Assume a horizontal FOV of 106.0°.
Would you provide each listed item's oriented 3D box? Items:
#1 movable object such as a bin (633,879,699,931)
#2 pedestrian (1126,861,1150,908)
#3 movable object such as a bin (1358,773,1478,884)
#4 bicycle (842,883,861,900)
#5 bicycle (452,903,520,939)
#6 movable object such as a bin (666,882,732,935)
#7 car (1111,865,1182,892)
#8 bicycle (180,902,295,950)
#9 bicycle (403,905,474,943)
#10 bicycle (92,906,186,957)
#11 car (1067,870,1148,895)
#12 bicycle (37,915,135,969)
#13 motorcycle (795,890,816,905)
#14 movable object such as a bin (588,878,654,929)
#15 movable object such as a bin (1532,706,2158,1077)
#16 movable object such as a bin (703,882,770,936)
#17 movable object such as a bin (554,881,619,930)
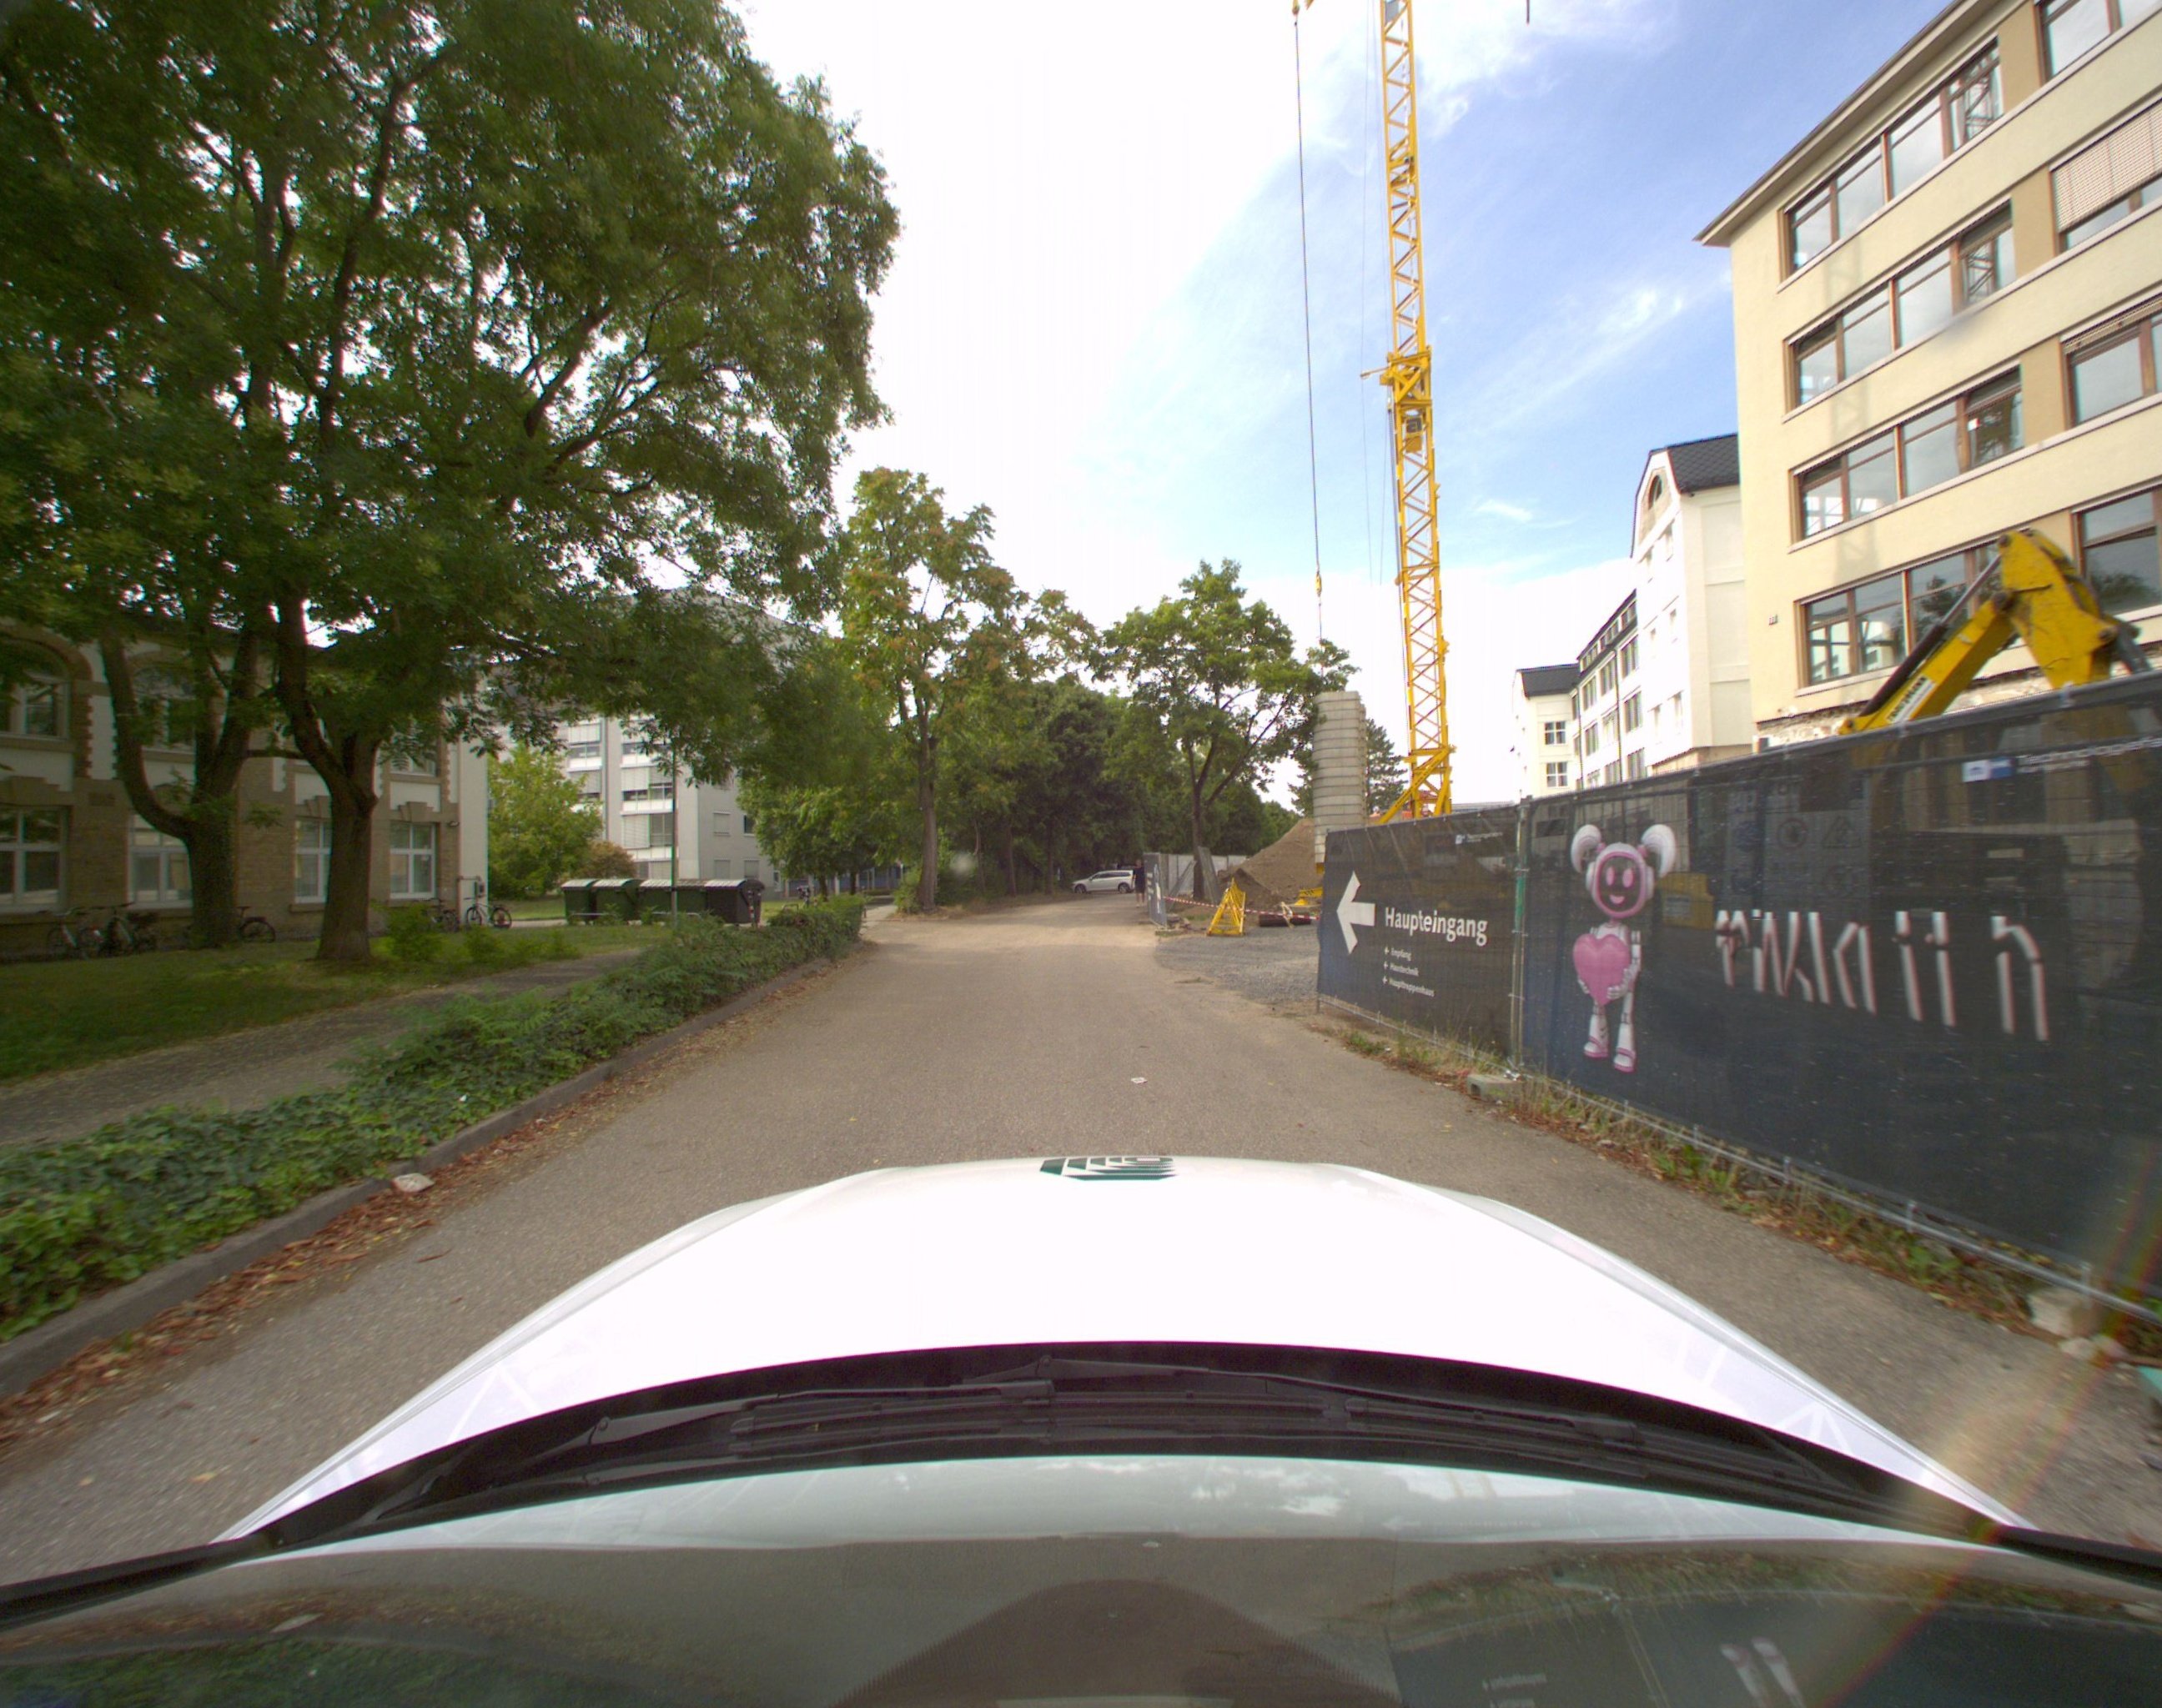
[{"bbox_3d":[-12.021,1.467,23.624,1.269,1.430,1.128,-2,-2,20],"label":"movable object such as a bin"},{"bbox_3d":[2.191,1.162,31.128,0.742,1.790,0.734,-1,-2,15],"label":"pedestrian"},{"bbox_3d":[22.757,-1.474,54.506,3.808,6.670,11.055,-2,-2,42],"label":"movable object such as a bin"},{"bbox_3d":[-17.078,2.805,60.638,0.646,1.181,1.904,-1,-1,7],"label":"bicycle"},{"bbox_3d":[-17.905,2.014,24.507,1.955,1.043,0.597,-2,-1,18],"label":"bicycle"},{"bbox_3d":[-10.795,1.520,23.050,1.269,1.430,1.128,-2,-2,20],"label":"movable object such as a bin"},{"bbox_3d":[5.016,1.848,62.480,5.005,1.953,2.009,-2,-2,18],"label":"car"},{"bbox_3d":[-20.115,1.709,19.452,1.968,1.043,0.593,-1,-1,-6],"label":"bicycle"},{"bbox_3d":[-18.303,1.987,23.201,1.955,1.043,0.597,-2,-1,18],"label":"bicycle"},{"bbox_3d":[-20.410,1.673,17.639,1.955,1.043,0.597,-2,-1,18],"label":"bicycle"},{"bbox_3d":[1.708,1.813,51.522,4.757,1.488,2.008,-1,-2,14],"label":"car"},{"bbox_3d":[-20.617,1.806,16.874,1.955,1.043,0.597,-2,-1,18],"label":"bicycle"},{"bbox_3d":[-25.733,4.075,76.166,0.661,1.290,2.157,-1,-1,19],"label":"motorcycle"},{"bbox_3d":[-13.571,1.450,24.030,1.269,1.430,1.128,-2,-2,20],"label":"movable object such as a bin"},{"bbox_3d":[5.939,0.291,6.994,2.479,2.443,3.063,-1,-2,3],"label":"movable object such as a bin"},{"bbox_3d":[-9.437,1.487,22.327,1.269,1.430,1.128,-2,-2,20],"label":"movable object such as a bin"},{"bbox_3d":[-14.862,1.538,24.492,1.269,1.430,1.128,-2,-2,20],"label":"movable object such as a bin"}]
